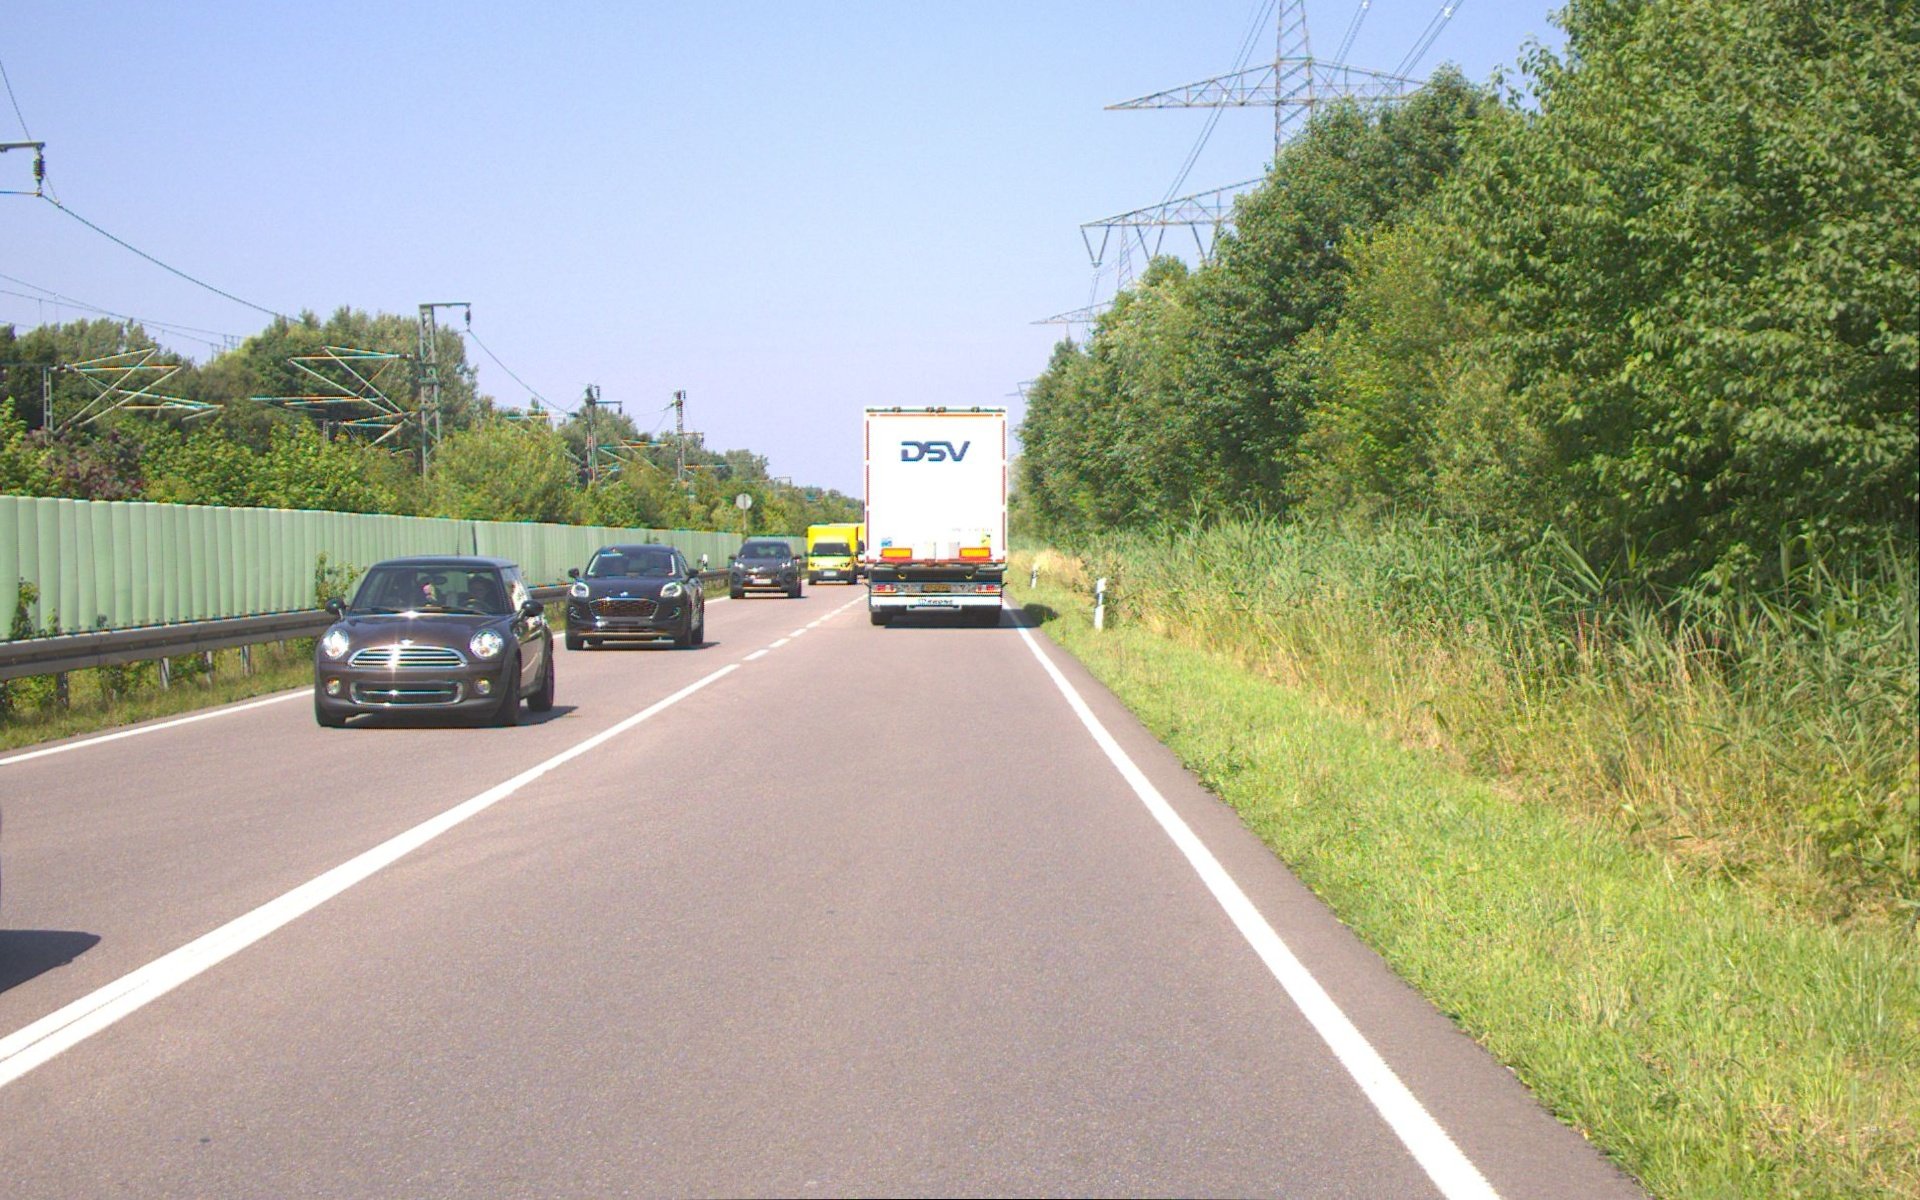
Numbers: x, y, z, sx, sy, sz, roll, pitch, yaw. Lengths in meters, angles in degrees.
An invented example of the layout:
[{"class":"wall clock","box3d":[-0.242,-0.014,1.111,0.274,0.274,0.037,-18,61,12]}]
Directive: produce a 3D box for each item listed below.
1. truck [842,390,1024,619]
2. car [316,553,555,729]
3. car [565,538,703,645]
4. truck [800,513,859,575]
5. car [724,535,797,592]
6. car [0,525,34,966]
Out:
[{"class":"truck","box3d":[-0.519,-1.784,66.986,3.192,4.029,12.007,-1,1,0]},{"class":"car","box3d":[-4.519,0.310,30.053,1.506,1.430,3.742,0,1,0]},{"class":"car","box3d":[-4.791,-0.160,50.991,1.673,1.509,4.289,0,1,-1]},{"class":"truck","box3d":[-4.963,-2.142,131.634,1.993,2.340,6.012,0,1,0]},{"class":"car","box3d":[-5.630,-1.053,97.339,1.801,1.582,4.371,0,1,0]},{"class":"car","box3d":[-4.373,0.556,10.745,1.825,1.600,4.323,0,1,0]}]
